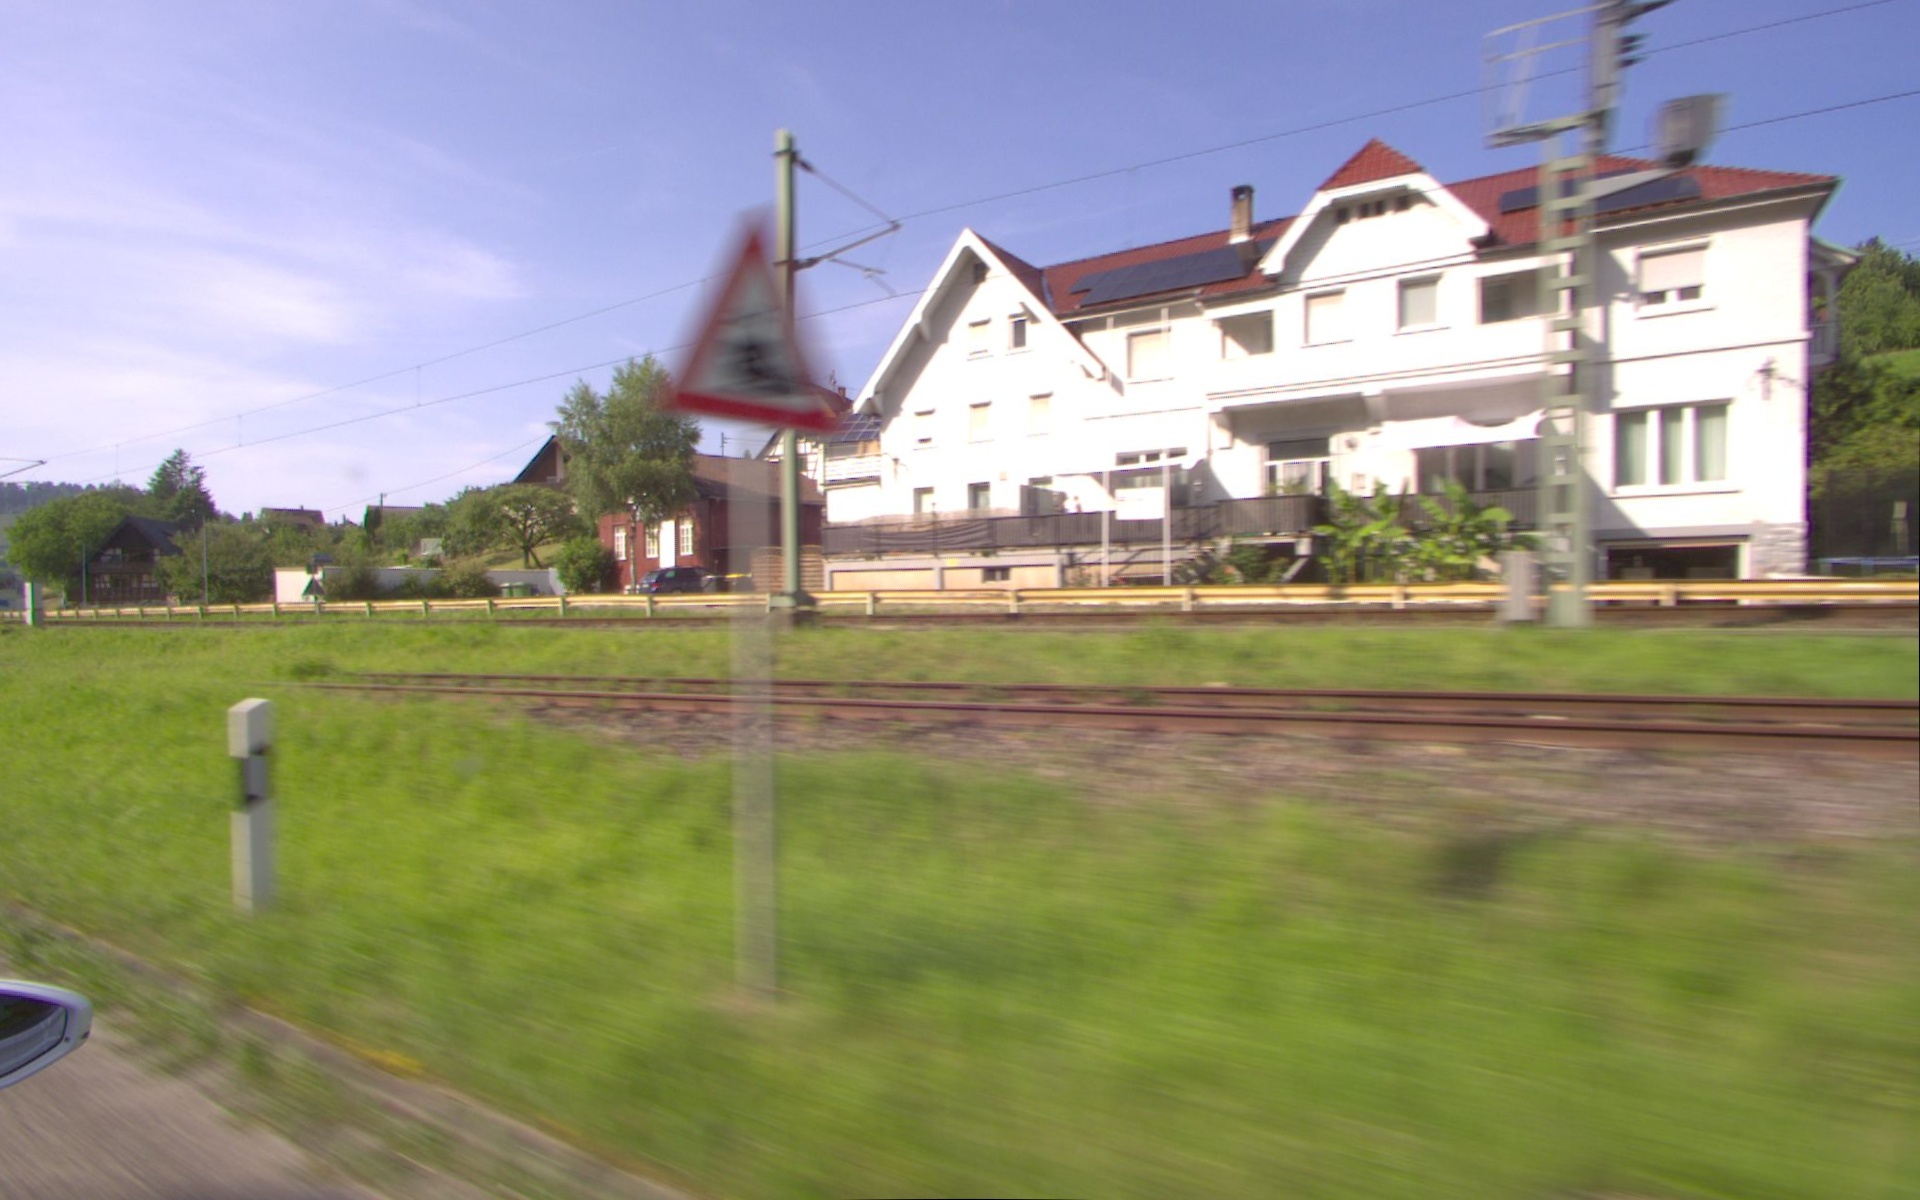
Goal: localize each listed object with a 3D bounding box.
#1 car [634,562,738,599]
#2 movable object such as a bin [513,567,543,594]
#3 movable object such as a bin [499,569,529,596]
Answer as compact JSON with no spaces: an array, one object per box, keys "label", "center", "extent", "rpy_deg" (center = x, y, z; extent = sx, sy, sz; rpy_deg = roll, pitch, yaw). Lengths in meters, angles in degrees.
[{"label":"car","center":[-11.702,-0.849,42.914],"extent":[1.803,1.395,3.968],"rpy_deg":[0,3,39]},{"label":"movable object such as a bin","center":[-17.585,-0.781,40.759],"extent":[0.900,1.064,0.805],"rpy_deg":[1,0,37]},{"label":"movable object such as a bin","center":[-18.424,-0.726,41.349],"extent":[0.900,1.064,0.805],"rpy_deg":[1,0,37]}]
